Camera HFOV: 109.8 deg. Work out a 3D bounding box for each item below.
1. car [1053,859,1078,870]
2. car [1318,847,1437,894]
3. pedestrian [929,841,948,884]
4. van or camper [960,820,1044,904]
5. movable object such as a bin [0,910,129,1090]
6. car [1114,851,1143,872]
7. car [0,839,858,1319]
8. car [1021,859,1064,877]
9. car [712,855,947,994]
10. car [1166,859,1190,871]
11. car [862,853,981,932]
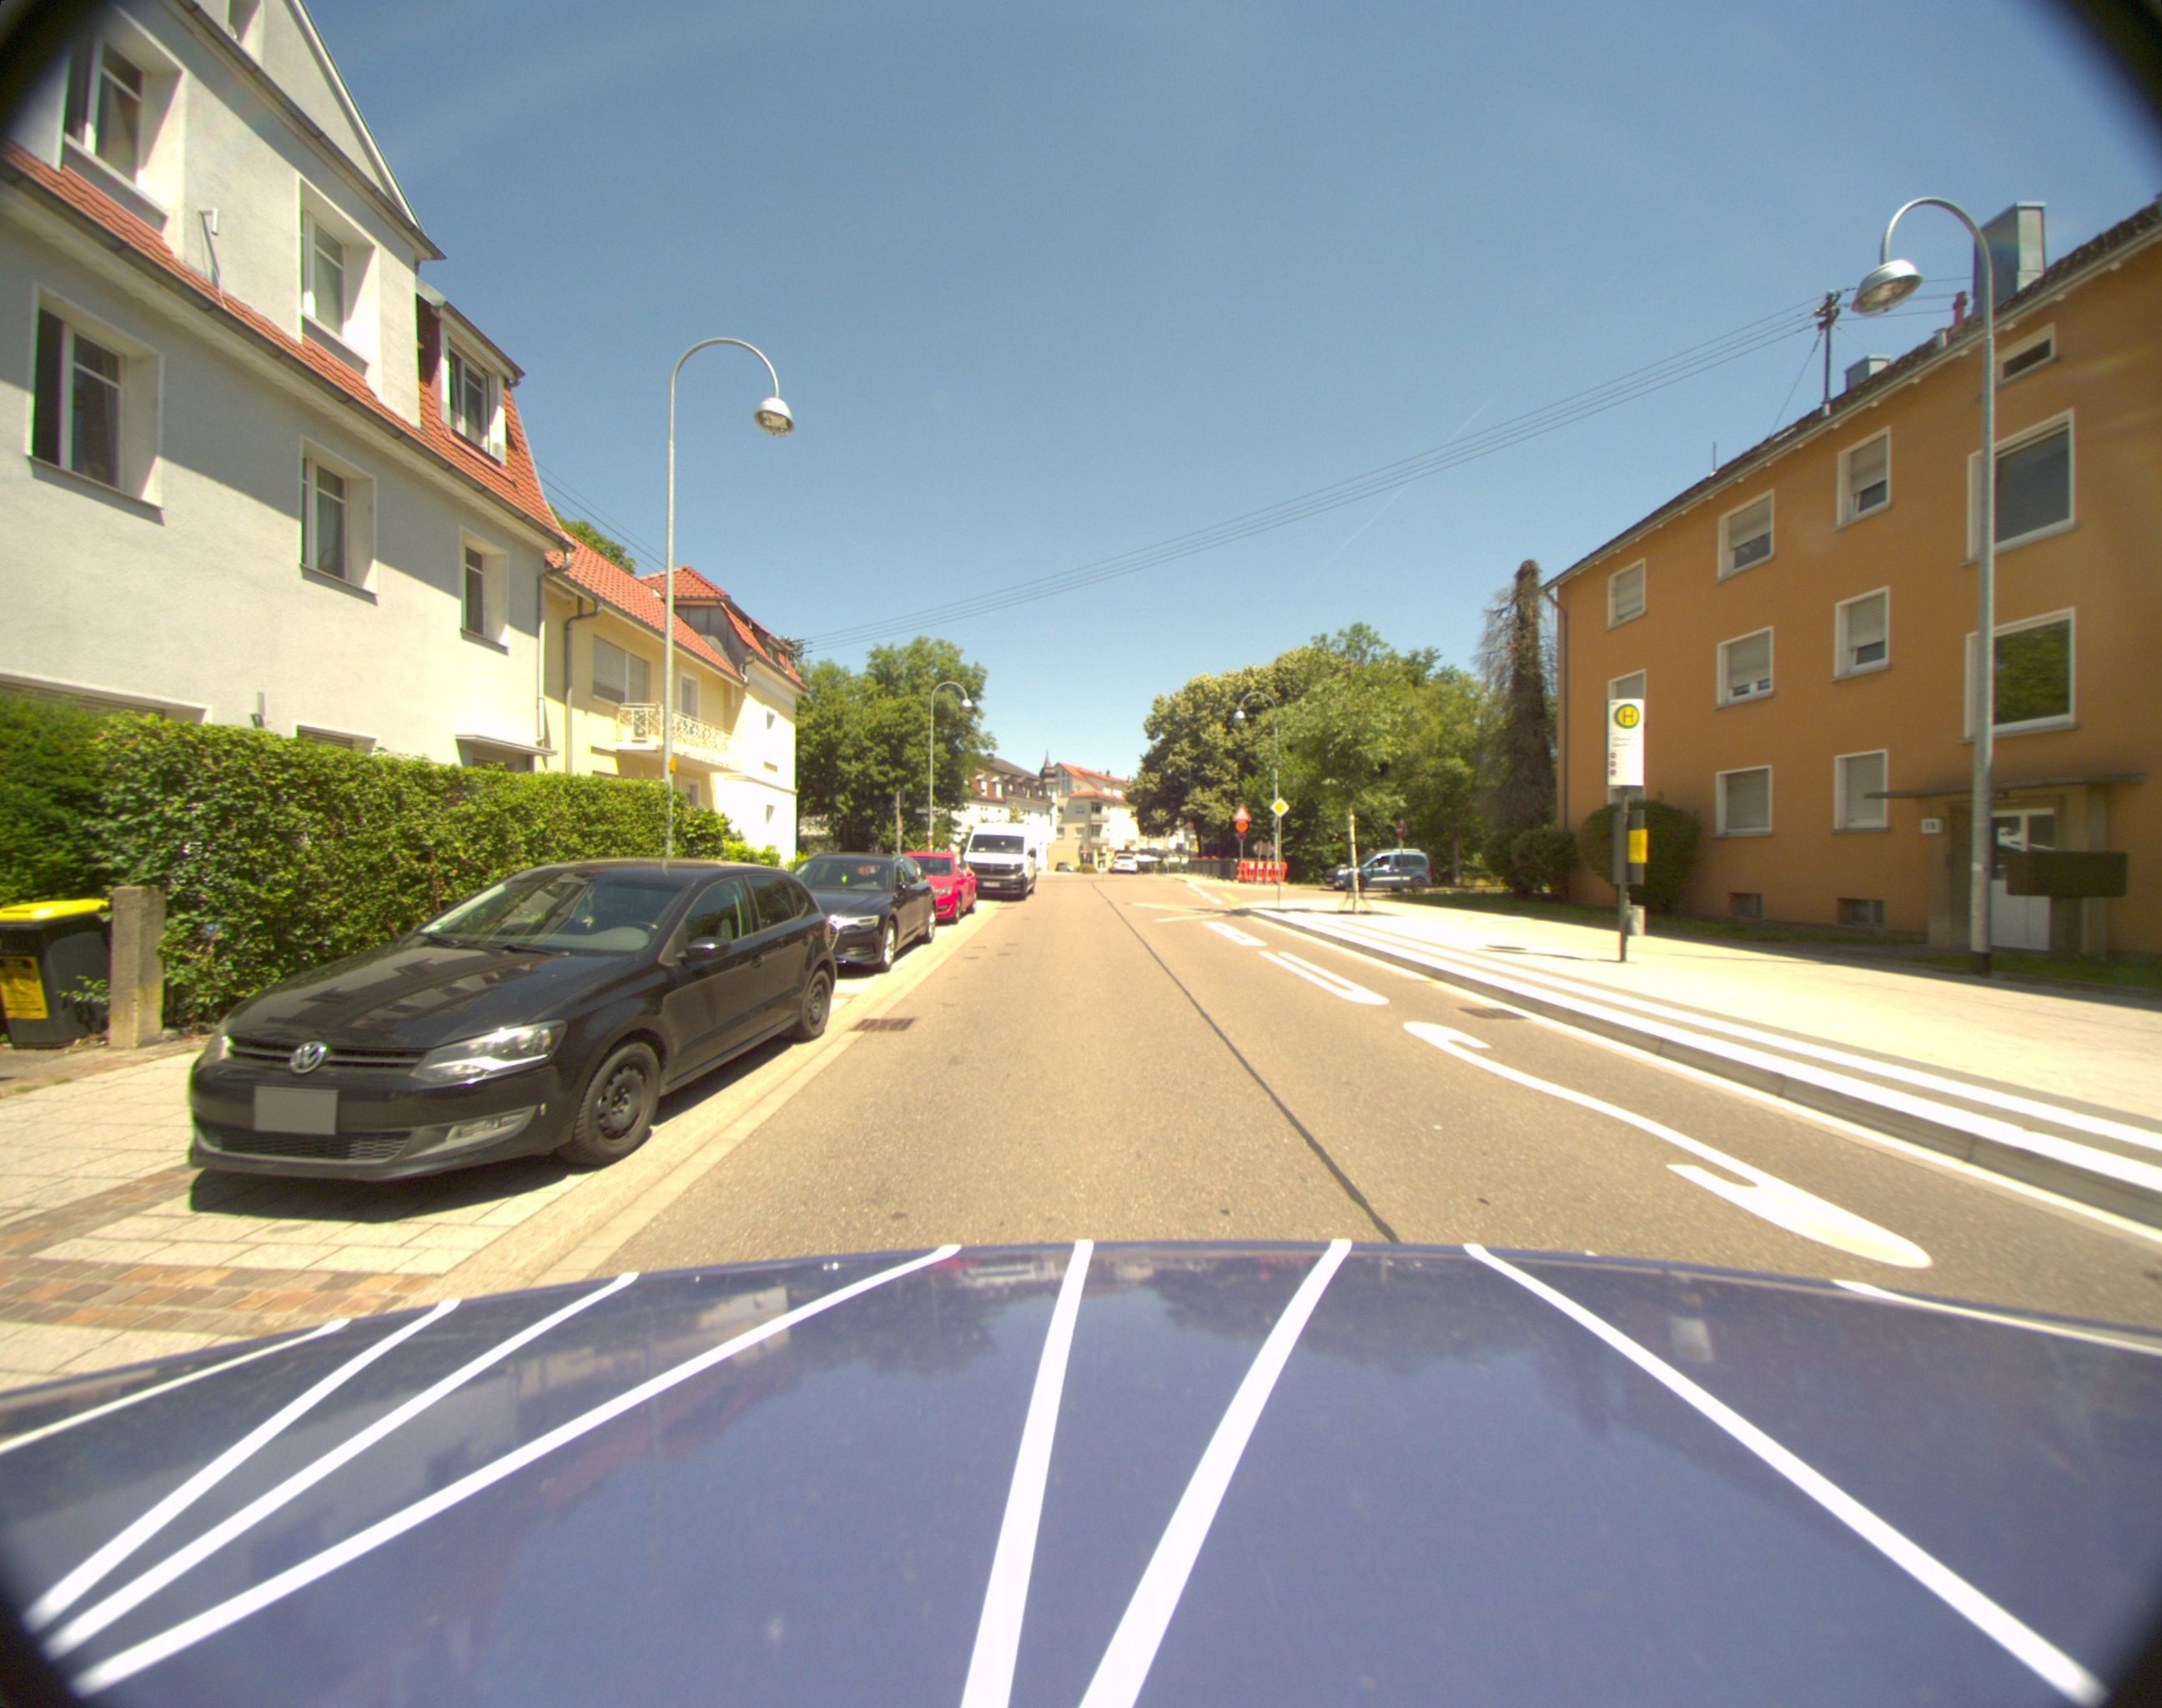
[{"bbox_3d":[-2.116,1.432,102.941,3.038,1.444,1.570,-2,0,22],"label":"car"},{"bbox_3d":[12.632,0.686,32.471,4.439,1.863,1.817,1,1,-10],"label":"car"},{"bbox_3d":[-5.855,0.339,31.157,0.522,1.696,0.803,4,0,-20],"label":"pedestrian"},{"bbox_3d":[-2.505,0.187,25.732,2.114,2.453,6.175,2,1,0],"label":"van or camper"},{"bbox_3d":[-7.010,0.937,5.052,0.501,1.078,0.671,0,1,1],"label":"movable object such as a bin"},{"bbox_3d":[3.446,0.546,55.955,1.998,1.498,4.288,0,0,2],"label":"car"},{"bbox_3d":[-2.989,0.800,4.727,1.732,1.623,4.001,3,0,4],"label":"car"},{"bbox_3d":[-4.081,1.472,81.215,3.991,1.660,2.003,-4,-1,27],"label":"car"},{"bbox_3d":[-3.268,0.807,10.979,1.808,1.466,4.719,3,0,-1],"label":"car"},{"bbox_3d":[14.150,1.576,111.324,2.002,1.705,3.994,2,-1,-17],"label":"car"},{"bbox_3d":[-3.384,0.747,16.906,1.808,1.521,4.150,1,0,-1],"label":"car"}]
